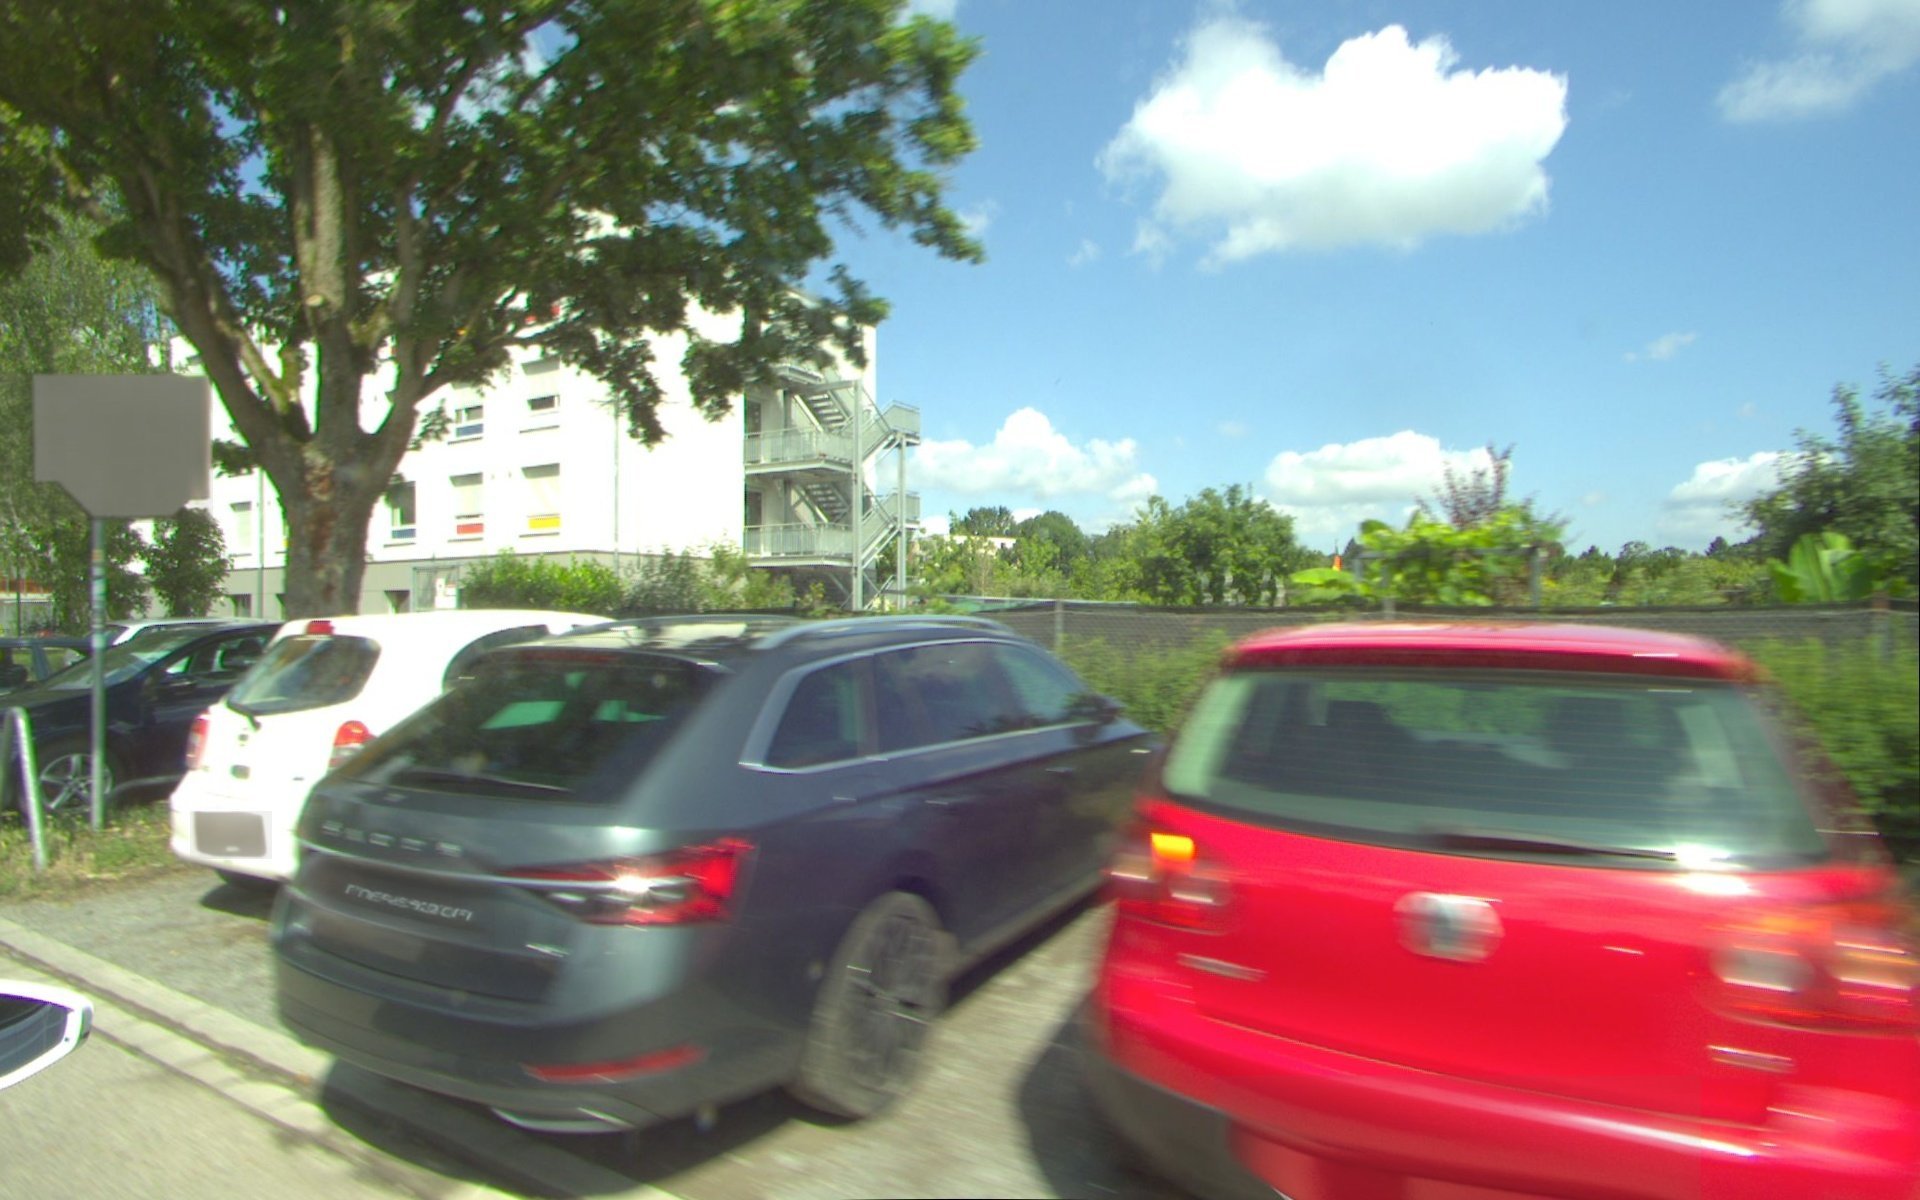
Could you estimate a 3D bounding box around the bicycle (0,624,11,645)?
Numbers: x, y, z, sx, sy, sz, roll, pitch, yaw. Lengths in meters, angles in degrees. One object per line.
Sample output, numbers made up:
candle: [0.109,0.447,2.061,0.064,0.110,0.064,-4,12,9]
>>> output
bicycle: [-50.695,1.803,51.927,0.679,1.094,2.041,0,1,34]

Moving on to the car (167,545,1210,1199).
car: [-0.400,0.789,4.439,1.781,1.598,4.545,0,-2,30]

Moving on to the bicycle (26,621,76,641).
bicycle: [-52.954,1.812,58.361,0.679,1.094,2.041,0,1,34]

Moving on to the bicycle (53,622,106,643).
bicycle: [-48.328,1.769,54.970,0.679,1.094,2.041,0,1,34]

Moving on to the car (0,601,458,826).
car: [-6.799,0.865,8.773,1.839,1.579,3.930,0,-2,29]

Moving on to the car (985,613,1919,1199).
car: [1.766,0.827,3.289,1.736,1.552,3.803,0,-1,31]

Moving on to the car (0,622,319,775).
car: [-9.404,0.959,10.387,1.695,1.410,4.346,-1,-1,35]

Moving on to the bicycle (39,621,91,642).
bicycle: [-50.472,1.786,56.494,0.679,1.094,2.041,0,1,34]

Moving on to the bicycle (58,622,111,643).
bicycle: [-47.629,1.748,54.484,0.679,1.094,2.041,0,1,34]

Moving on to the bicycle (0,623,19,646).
bicycle: [-49.416,1.781,51.005,0.616,1.134,2.082,0,1,35]

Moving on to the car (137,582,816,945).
car: [-2.642,0.787,6.313,1.641,1.568,3.573,0,-2,28]

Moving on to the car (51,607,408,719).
car: [-11.341,0.881,15.888,1.733,1.450,4.233,0,1,30]
